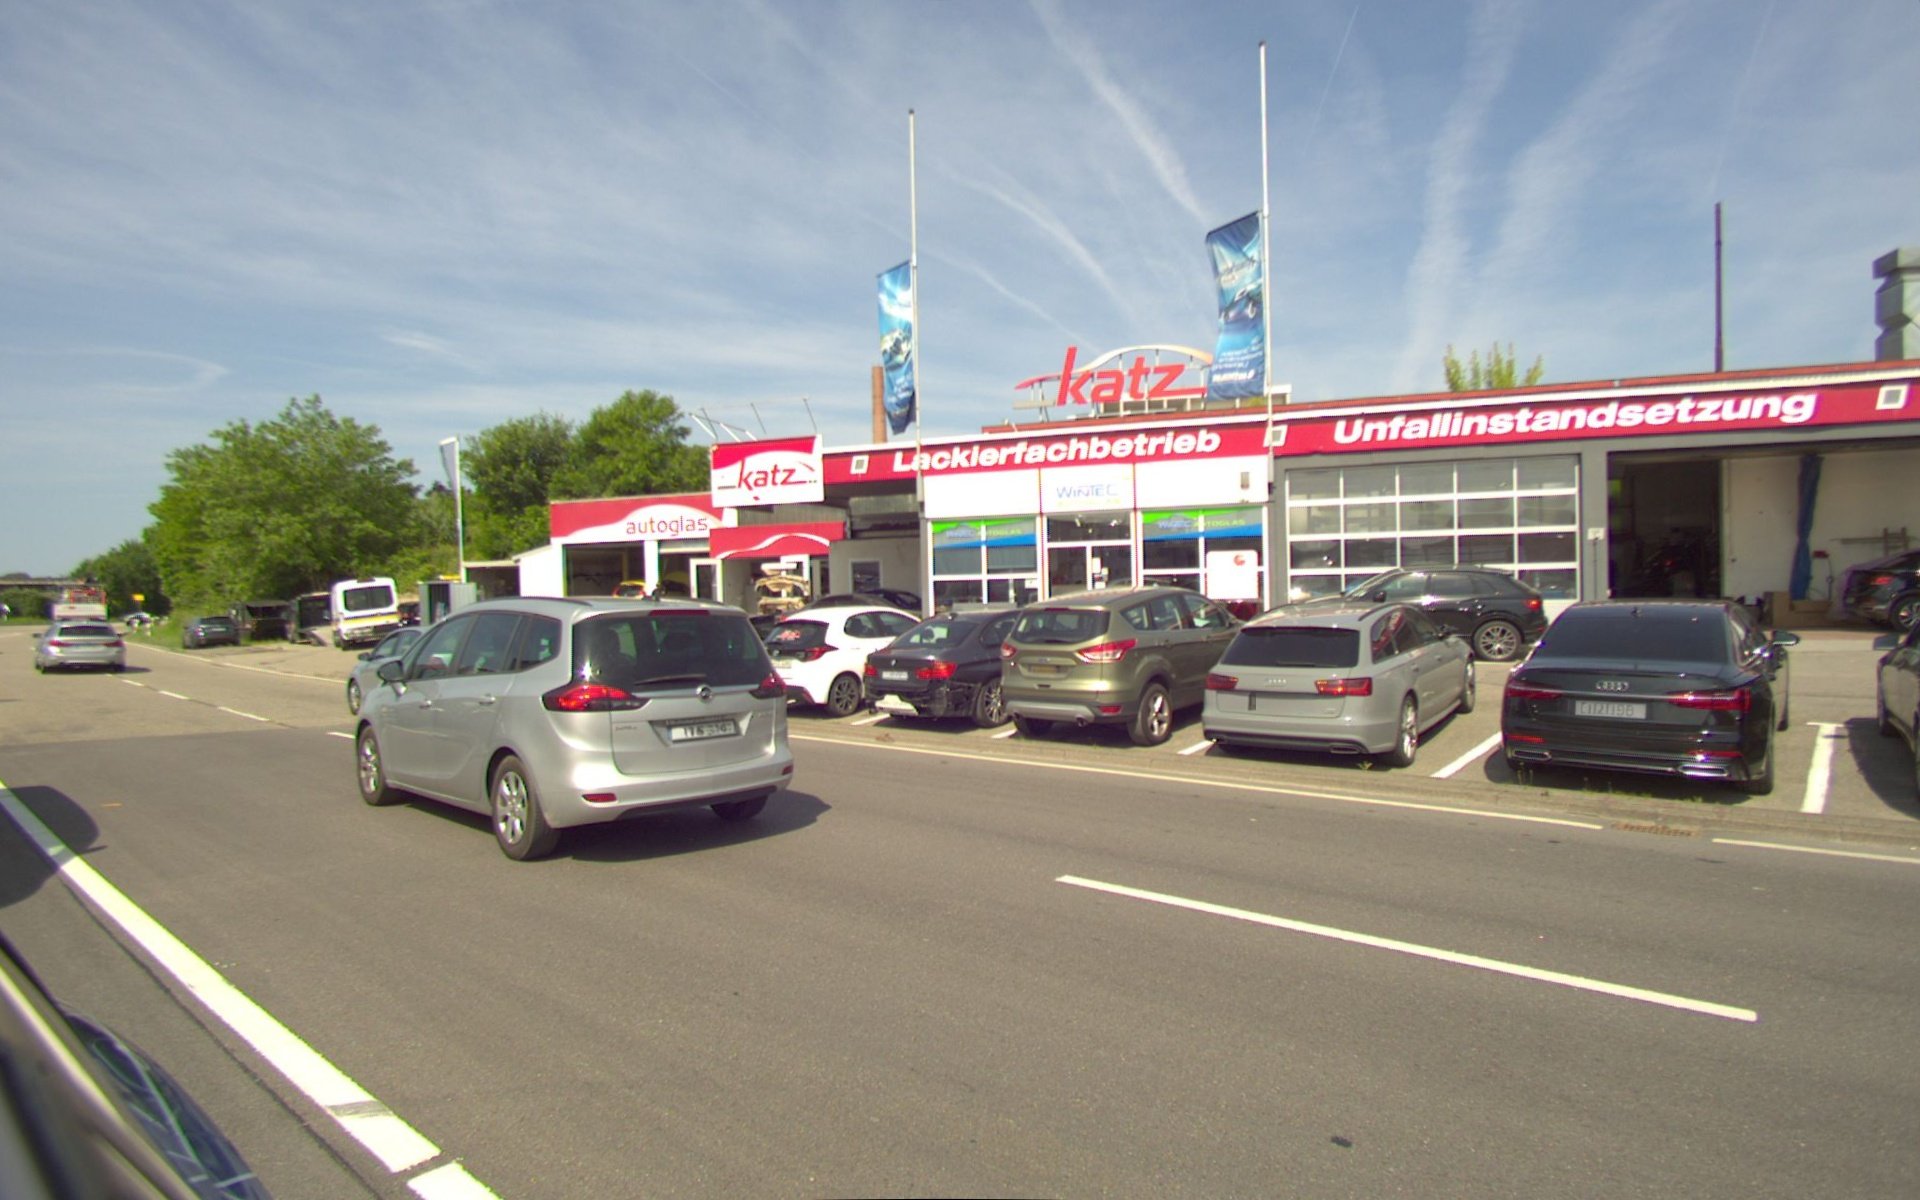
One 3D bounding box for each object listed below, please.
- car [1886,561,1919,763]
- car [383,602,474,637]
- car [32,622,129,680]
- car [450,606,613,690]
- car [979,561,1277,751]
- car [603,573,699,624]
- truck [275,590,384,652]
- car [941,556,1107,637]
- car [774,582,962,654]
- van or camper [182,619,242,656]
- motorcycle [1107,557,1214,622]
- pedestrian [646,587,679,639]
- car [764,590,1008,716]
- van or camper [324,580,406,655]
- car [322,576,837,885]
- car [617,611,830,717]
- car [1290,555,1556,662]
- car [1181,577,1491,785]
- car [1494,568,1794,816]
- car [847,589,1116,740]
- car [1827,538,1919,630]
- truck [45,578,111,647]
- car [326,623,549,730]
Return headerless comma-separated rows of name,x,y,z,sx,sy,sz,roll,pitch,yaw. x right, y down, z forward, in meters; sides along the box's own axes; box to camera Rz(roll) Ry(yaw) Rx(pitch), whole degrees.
car,8.336,0.533,7.530,1.770,1.495,4.417,-1,3,38
car,-25.107,0.915,47.955,1.725,1.541,3.650,-1,0,18
car,-26.071,1.438,29.935,1.887,1.533,4.784,0,-1,-45
car,-9.430,0.987,22.140,3.999,1.630,1.760,-1,0,42
car,2.165,0.524,12.224,1.805,1.729,3.848,-1,3,40
car,-11.965,-0.084,39.427,1.725,1.738,3.650,-1,3,19
truck,-28.190,0.907,45.042,2.304,2.313,8.811,-7,4,-43
car,1.591,-0.093,24.605,3.727,1.772,1.696,-1,3,16
car,-2.346,0.451,25.996,4.360,1.516,1.849,-3,2,19
van or camper,-34.428,1.691,46.519,1.621,1.535,4.471,-2,1,-44
motorcycle,4.087,-0.202,20.644,2.039,1.271,0.767,-1,-1,20
pedestrian,-10.435,0.451,35.480,0.895,1.775,0.714,0,1,44
car,-1.090,0.752,16.407,1.844,1.536,3.760,-1,3,38
van or camper,-23.019,0.627,39.018,2.126,2.517,5.965,-5,3,-34
car,-3.023,0.756,7.603,4.179,1.675,1.889,-1,-2,41
car,-4.235,1.036,17.851,3.781,1.505,1.761,-1,4,42
car,8.168,0.112,18.292,4.090,1.686,1.819,0,5,16
car,4.148,0.660,10.703,1.834,1.495,4.237,-1,3,38
car,6.353,0.596,9.159,1.797,1.495,4.256,-1,3,40
car,0.416,0.760,13.856,1.790,1.536,3.673,-1,3,38
car,18.912,-0.314,18.711,3.997,1.685,1.894,-1,-1,29
truck,-59.209,0.921,67.826,2.921,4.241,10.657,2,-2,-43
car,-8.407,1.112,16.139,4.079,1.459,1.817,-1,-1,41
